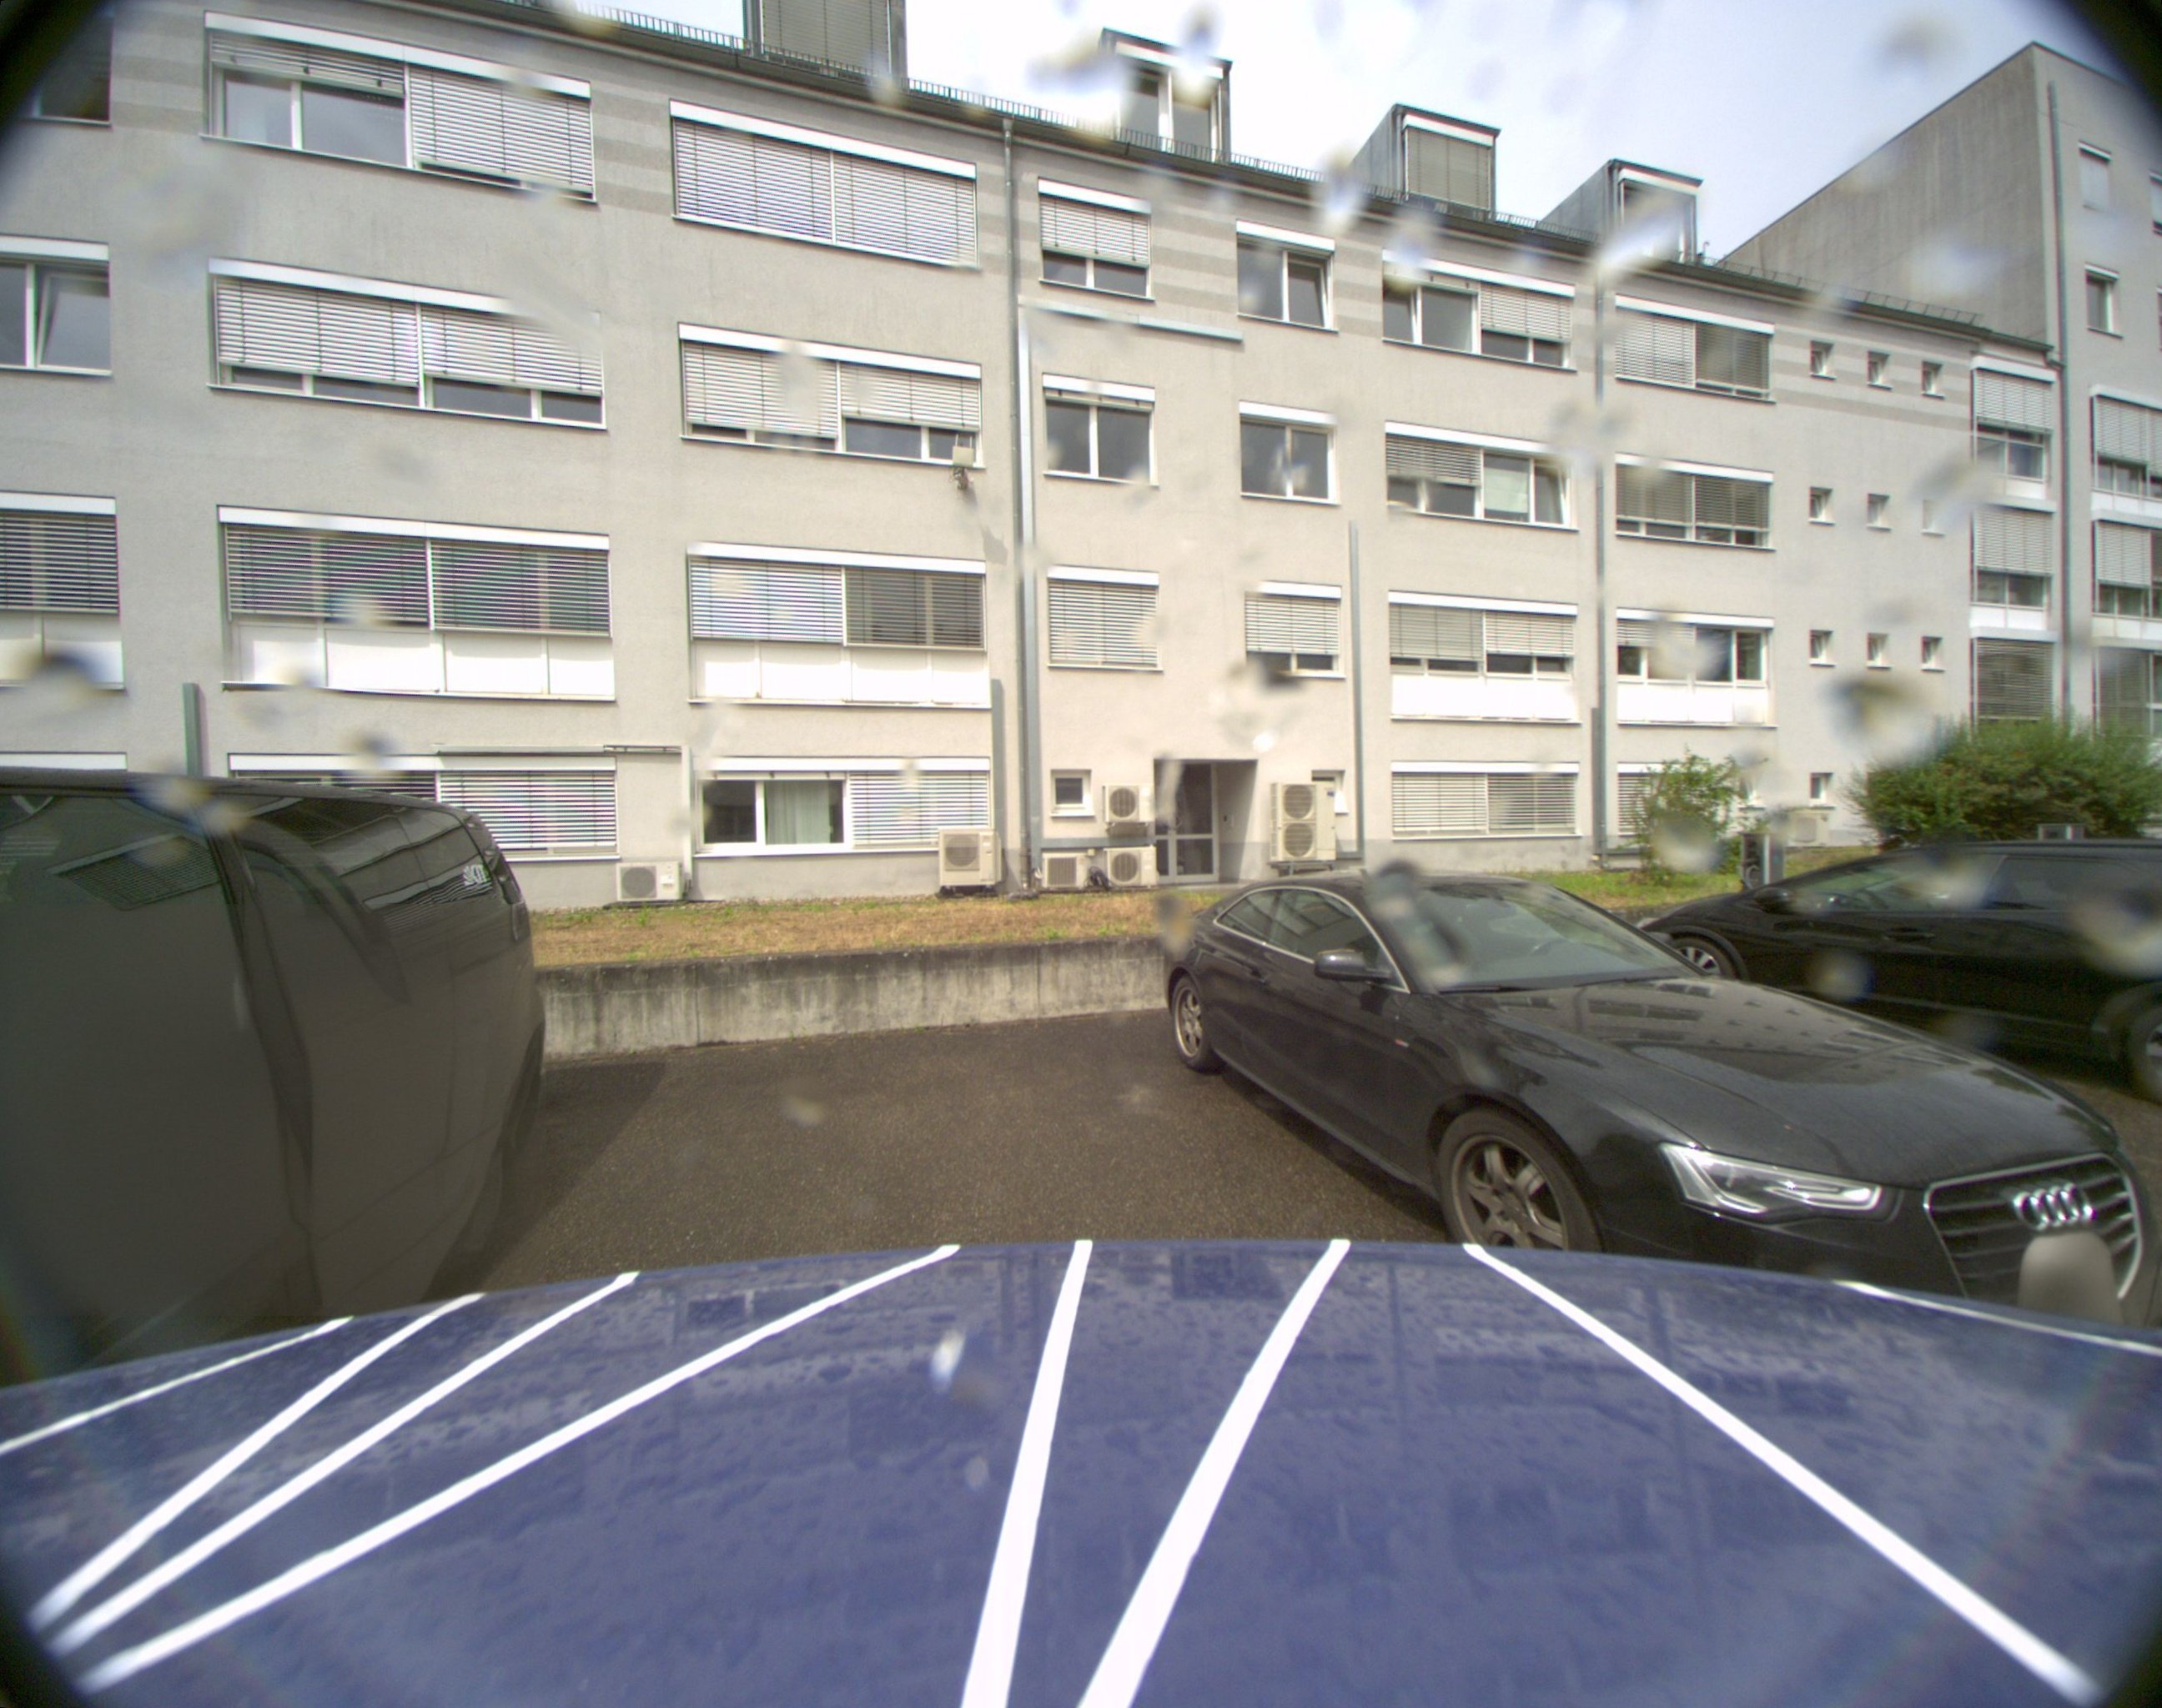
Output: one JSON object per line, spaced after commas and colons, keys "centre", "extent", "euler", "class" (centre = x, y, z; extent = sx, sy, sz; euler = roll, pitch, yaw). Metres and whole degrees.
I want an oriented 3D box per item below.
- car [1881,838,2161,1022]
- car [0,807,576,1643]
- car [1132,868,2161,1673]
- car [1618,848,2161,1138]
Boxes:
{"centre": [9.603, 0.617, 6.076], "extent": [1.697, 1.434, 4.119], "euler": [-2, 2, -13], "class": "car"}
{"centre": [-3.631, 0.832, 2.348], "extent": [1.971, 1.854, 4.740], "euler": [-2, 2, -15], "class": "car"}
{"centre": [1.814, 0.872, 3.889], "extent": [1.764, 1.344, 4.522], "euler": [-2, 2, -14], "class": "car"}
{"centre": [6.324, 0.734, 5.100], "extent": [1.764, 1.434, 4.309], "euler": [-2, 2, -15], "class": "car"}
